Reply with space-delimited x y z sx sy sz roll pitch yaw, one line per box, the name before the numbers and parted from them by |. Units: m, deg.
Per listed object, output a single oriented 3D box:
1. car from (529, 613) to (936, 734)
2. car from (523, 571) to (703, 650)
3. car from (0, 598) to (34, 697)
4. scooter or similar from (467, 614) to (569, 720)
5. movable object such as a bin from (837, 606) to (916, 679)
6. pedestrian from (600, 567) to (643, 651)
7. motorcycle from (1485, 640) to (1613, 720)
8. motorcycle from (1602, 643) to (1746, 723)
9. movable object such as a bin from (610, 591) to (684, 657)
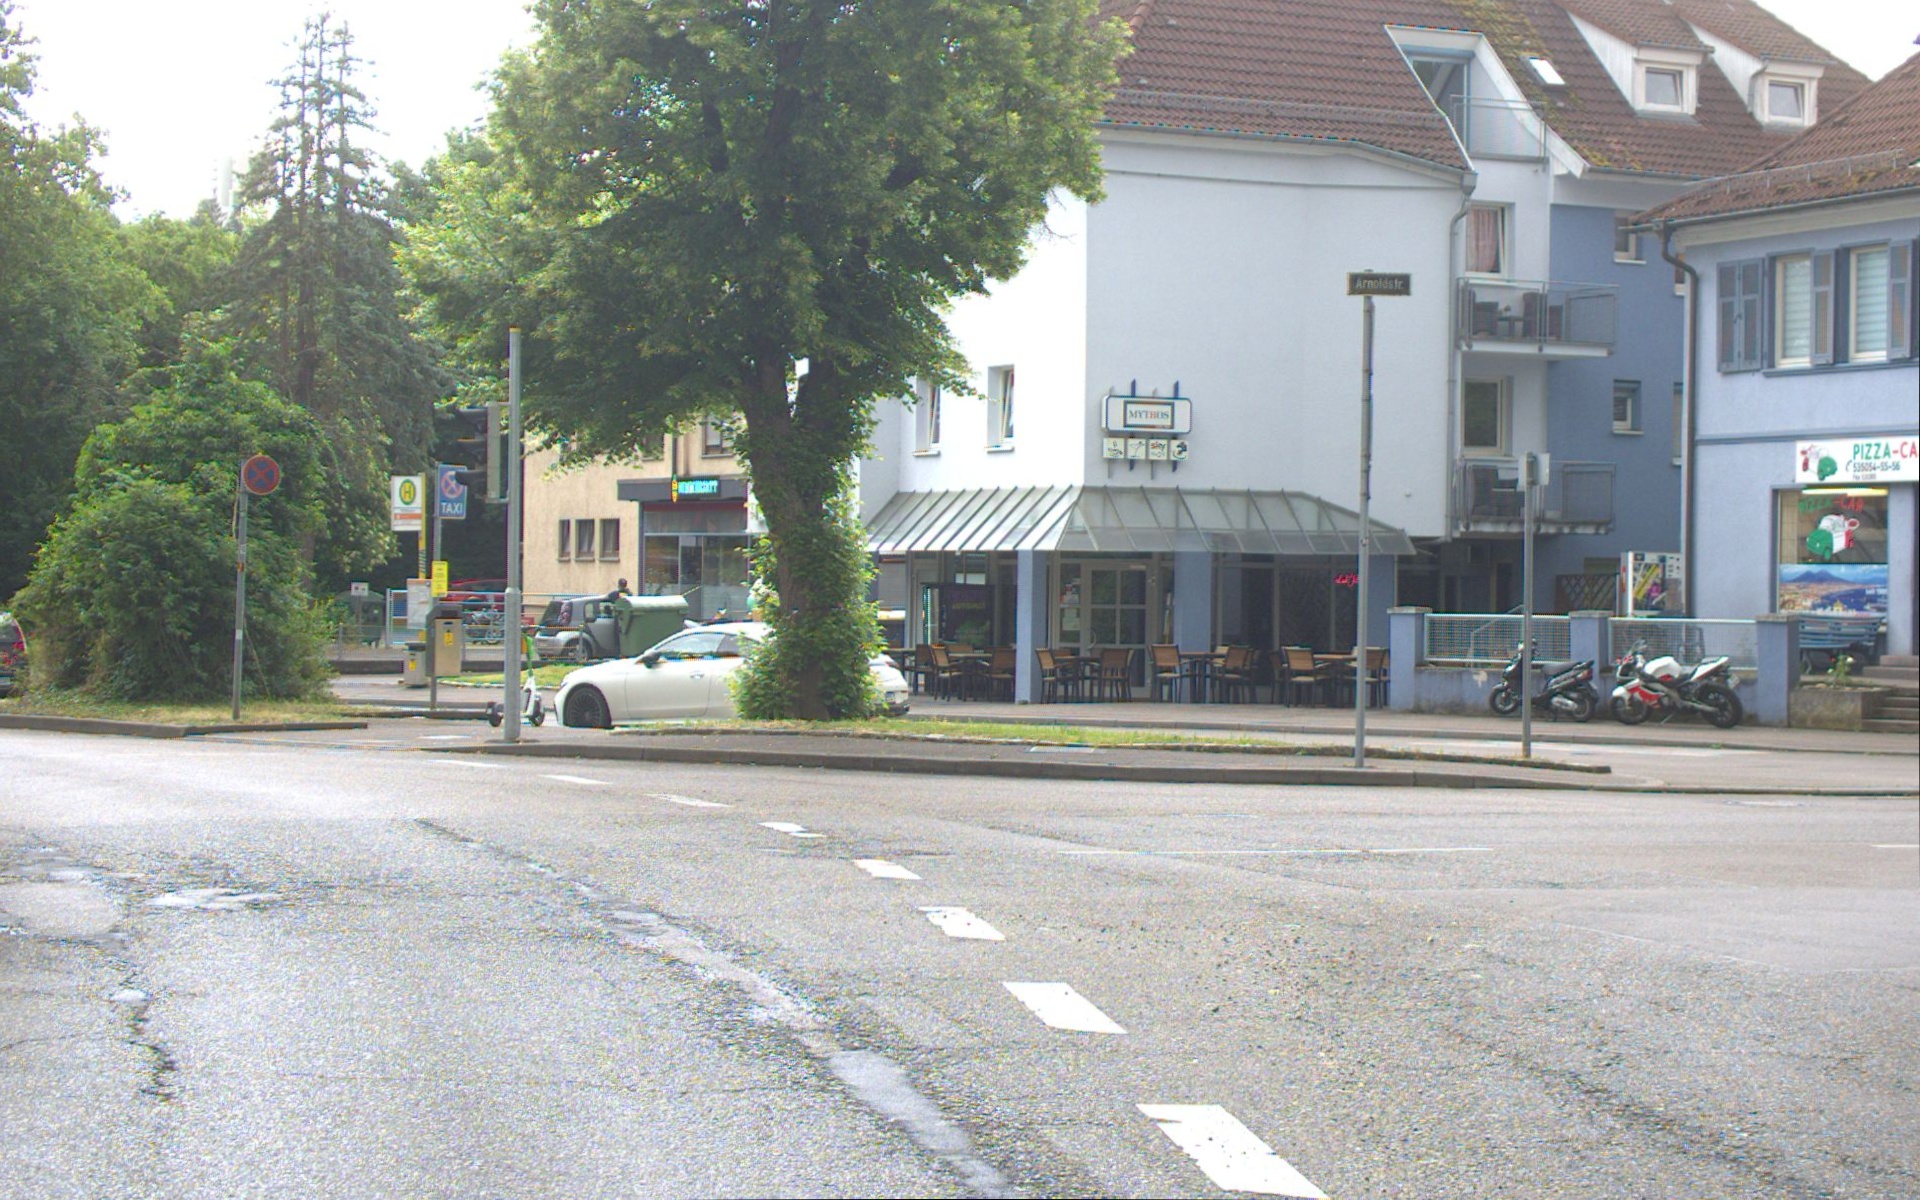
car | -2.806 0.858 41.980 4.782 1.382 1.996 0 0 36
car | -7.299 0.220 72.309 3.412 1.625 1.625 0 0 -24
car | -15.377 0.651 50.167 3.489 1.399 1.570 2 1 29
scooter or similar | -5.028 0.774 39.154 0.412 1.163 1.360 1 -2 27
movable object such as a bin | -1.631 0.818 66.861 1.214 1.390 1.161 0 0 -21
pedestrian | -7.015 0.181 71.264 0.687 1.723 0.611 0 0 -31
motorcycle | 7.917 1.068 46.248 1.724 1.028 0.488 0 0 44
motorcycle | 9.220 1.067 44.426 1.822 0.982 0.520 0 0 44
movable object such as a bin | -6.401 0.491 70.292 1.216 1.340 0.995 0 0 -30
